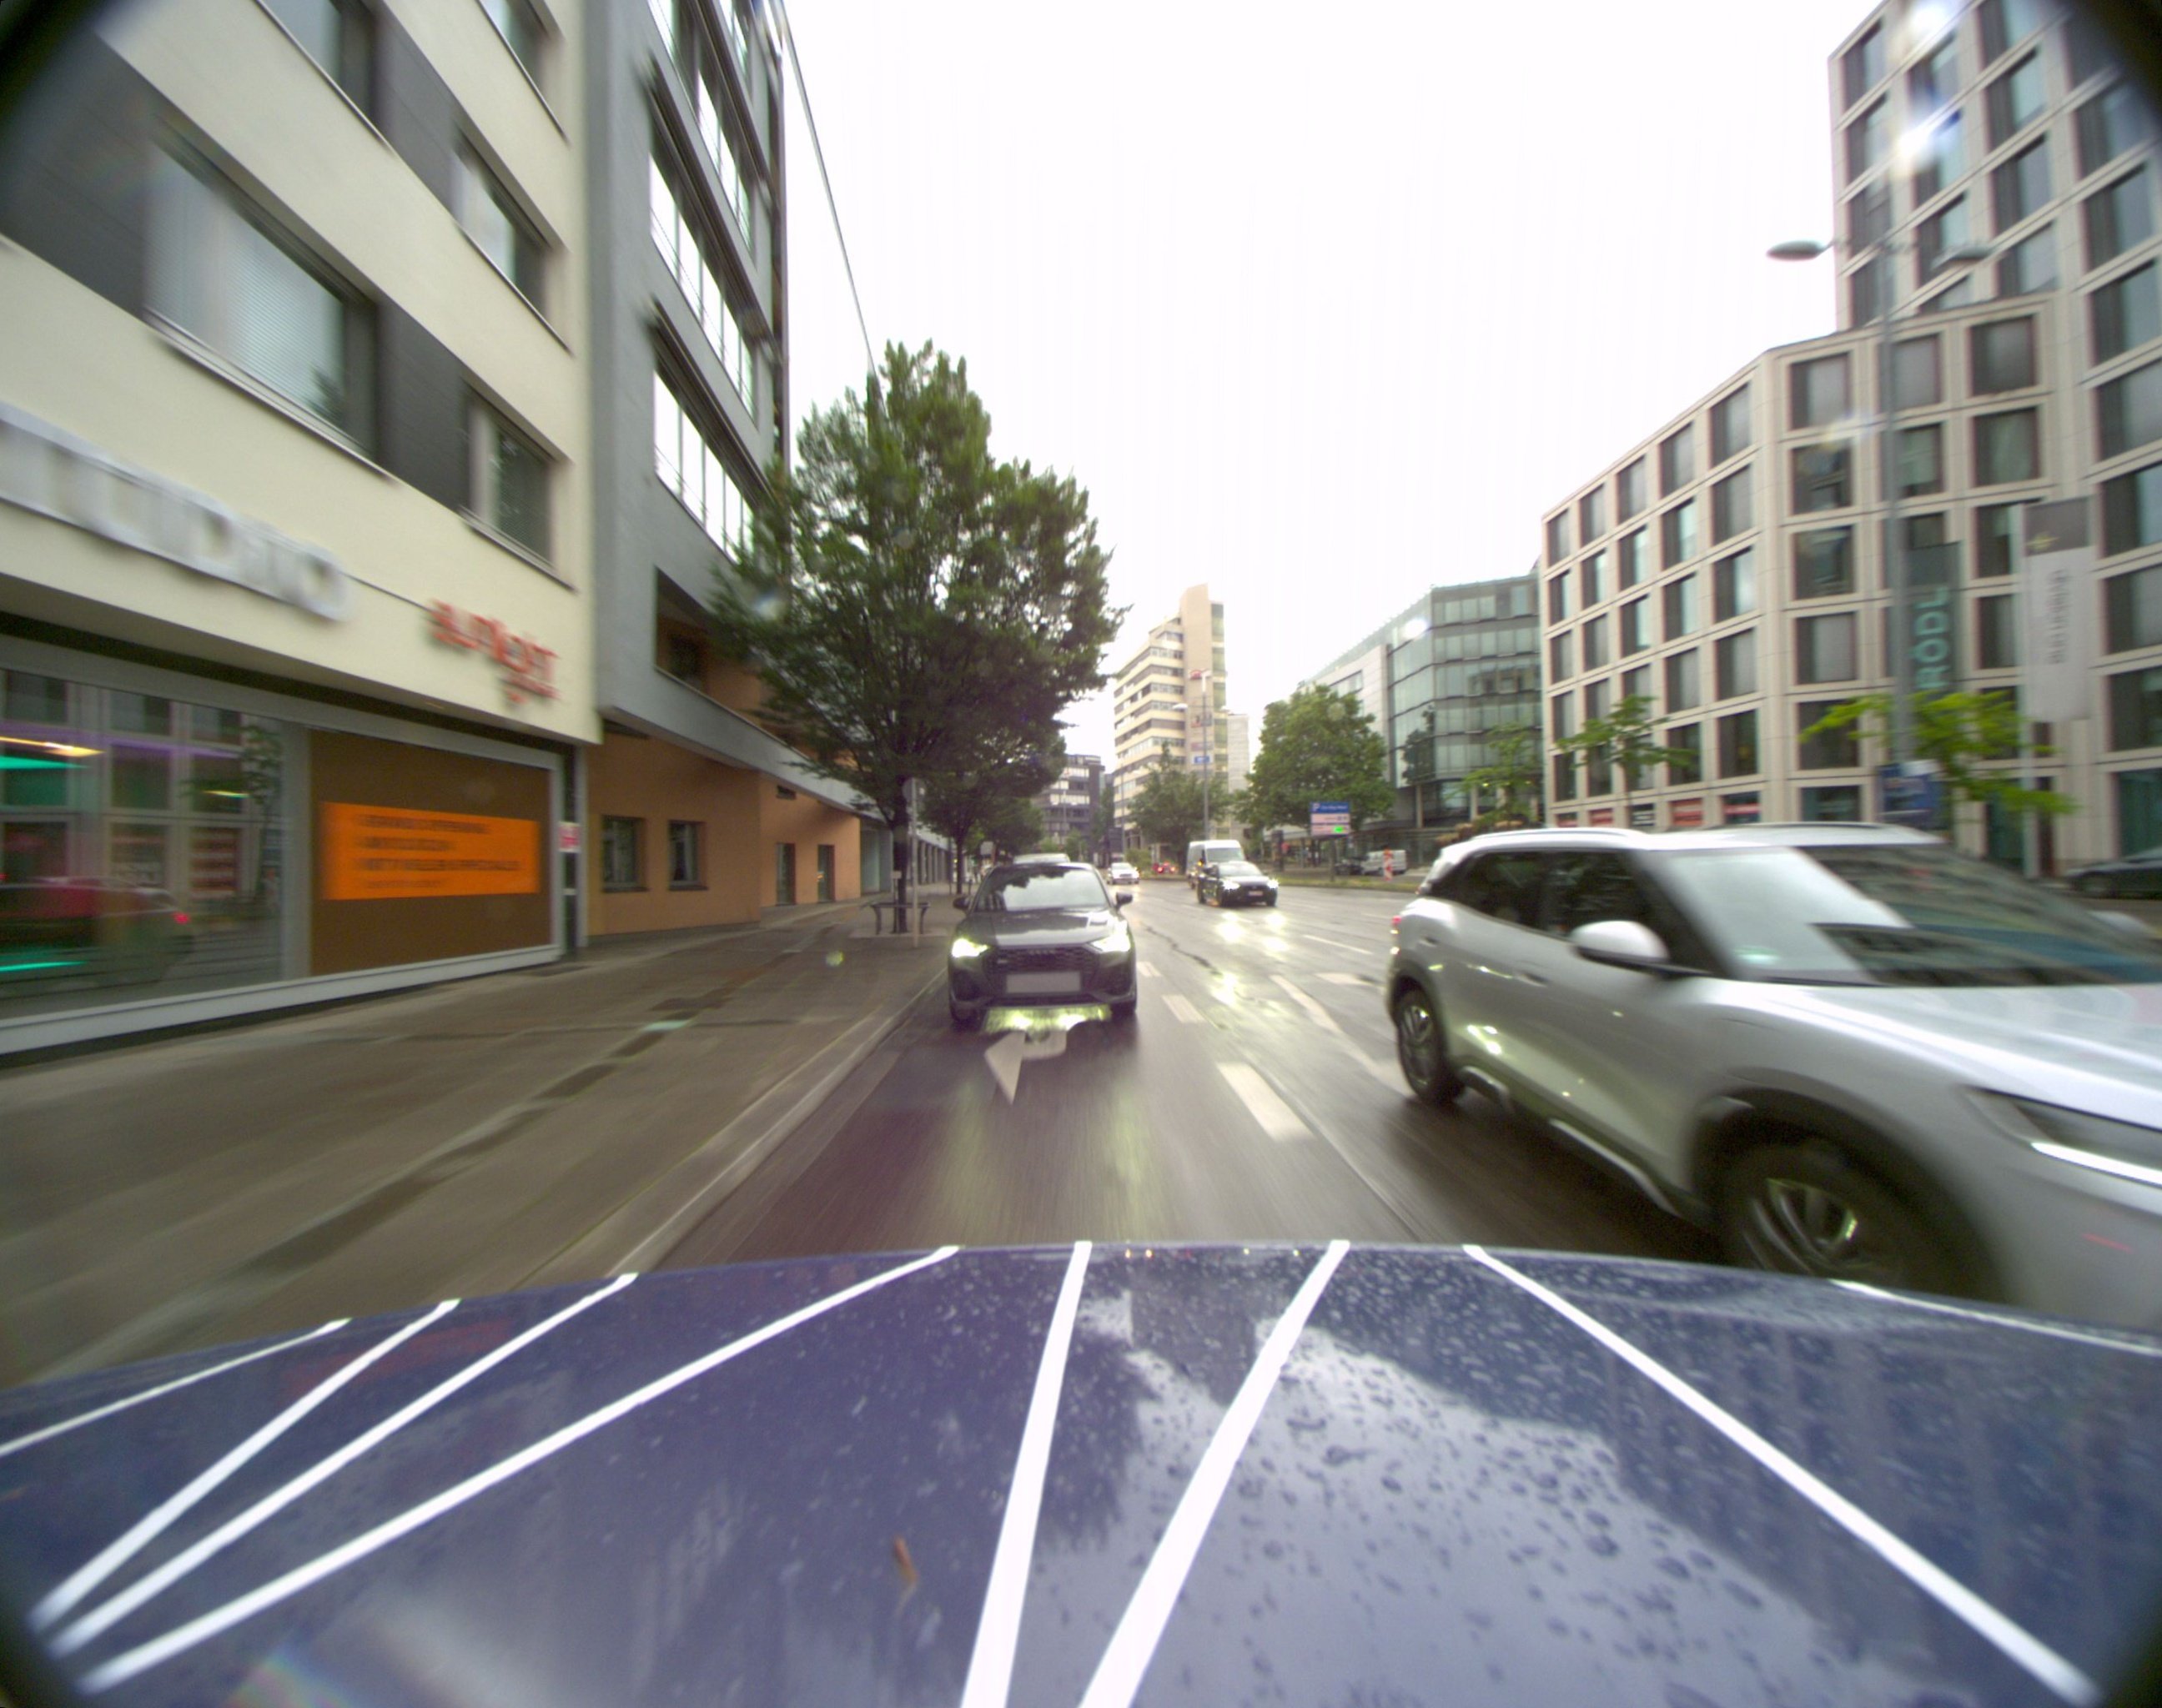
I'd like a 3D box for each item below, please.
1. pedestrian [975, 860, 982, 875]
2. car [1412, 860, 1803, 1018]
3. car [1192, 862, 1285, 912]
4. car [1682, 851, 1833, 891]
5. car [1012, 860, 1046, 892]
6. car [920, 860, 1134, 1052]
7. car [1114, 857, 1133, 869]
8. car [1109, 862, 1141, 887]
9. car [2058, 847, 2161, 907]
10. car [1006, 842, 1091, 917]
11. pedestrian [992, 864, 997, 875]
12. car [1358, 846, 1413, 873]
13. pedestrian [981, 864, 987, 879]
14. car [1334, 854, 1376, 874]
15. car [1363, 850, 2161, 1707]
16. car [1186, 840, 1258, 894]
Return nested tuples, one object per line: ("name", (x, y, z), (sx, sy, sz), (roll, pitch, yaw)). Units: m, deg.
("pedestrian", (-12.339, 1.603, 91.464), (0.794, 1.771, 0.894), (-2, -1, -8))
("car", (6.255, 0.865, 9.735), (1.775, 1.470, 4.124), (-2, 0, -8))
("car", (5.159, 1.038, 25.488), (1.905, 1.393, 4.239), (-2, 0, -4))
("car", (25.683, 0.623, 29.072), (1.702, 1.415, 4.372), (0, 0, -4))
("car", (-3.586, 1.442, 51.716), (2.060, 1.881, 5.046), (-2, 0, -5))
("car", (-0.329, 0.910, 8.763), (1.801, 1.543, 4.389), (-2, 0, 4))
("car", (6.400, 1.327, 115.822), (1.831, 1.623, 4.871), (-2, 0, -10))
("car", (2.934, 1.352, 51.326), (1.785, 1.499, 3.999), (-2, 0, -2))
("car", (26.330, 0.547, 17.802), (1.702, 1.415, 3.954), (0, 0, -4))
("car", (-1.092, 0.654, 22.442), (2.060, 1.881, 5.045), (-2, 0, -7))
("pedestrian", (-13.285, 2.426, 116.663), (0.654, 1.588, 1.058), (-2, 1, -10))
("car", (24.253, 0.429, 60.740), (1.999, 2.002, 4.913), (-2, 0, -5))
("pedestrian", (-11.778, 2.158, 92.473), (0.641, 1.771, 0.880), (-2, -1, -5))
("car", (23.787, 0.842, 66.048), (1.803, 1.520, 4.284), (-2, 0, -5))
("car", (2.861, 0.843, 3.115), (1.813, 1.651, 4.170), (-2, 0, 0))
("car", (6.892, 0.585, 37.925), (2.260, 2.371, 5.718), (-2, 0, -2))
